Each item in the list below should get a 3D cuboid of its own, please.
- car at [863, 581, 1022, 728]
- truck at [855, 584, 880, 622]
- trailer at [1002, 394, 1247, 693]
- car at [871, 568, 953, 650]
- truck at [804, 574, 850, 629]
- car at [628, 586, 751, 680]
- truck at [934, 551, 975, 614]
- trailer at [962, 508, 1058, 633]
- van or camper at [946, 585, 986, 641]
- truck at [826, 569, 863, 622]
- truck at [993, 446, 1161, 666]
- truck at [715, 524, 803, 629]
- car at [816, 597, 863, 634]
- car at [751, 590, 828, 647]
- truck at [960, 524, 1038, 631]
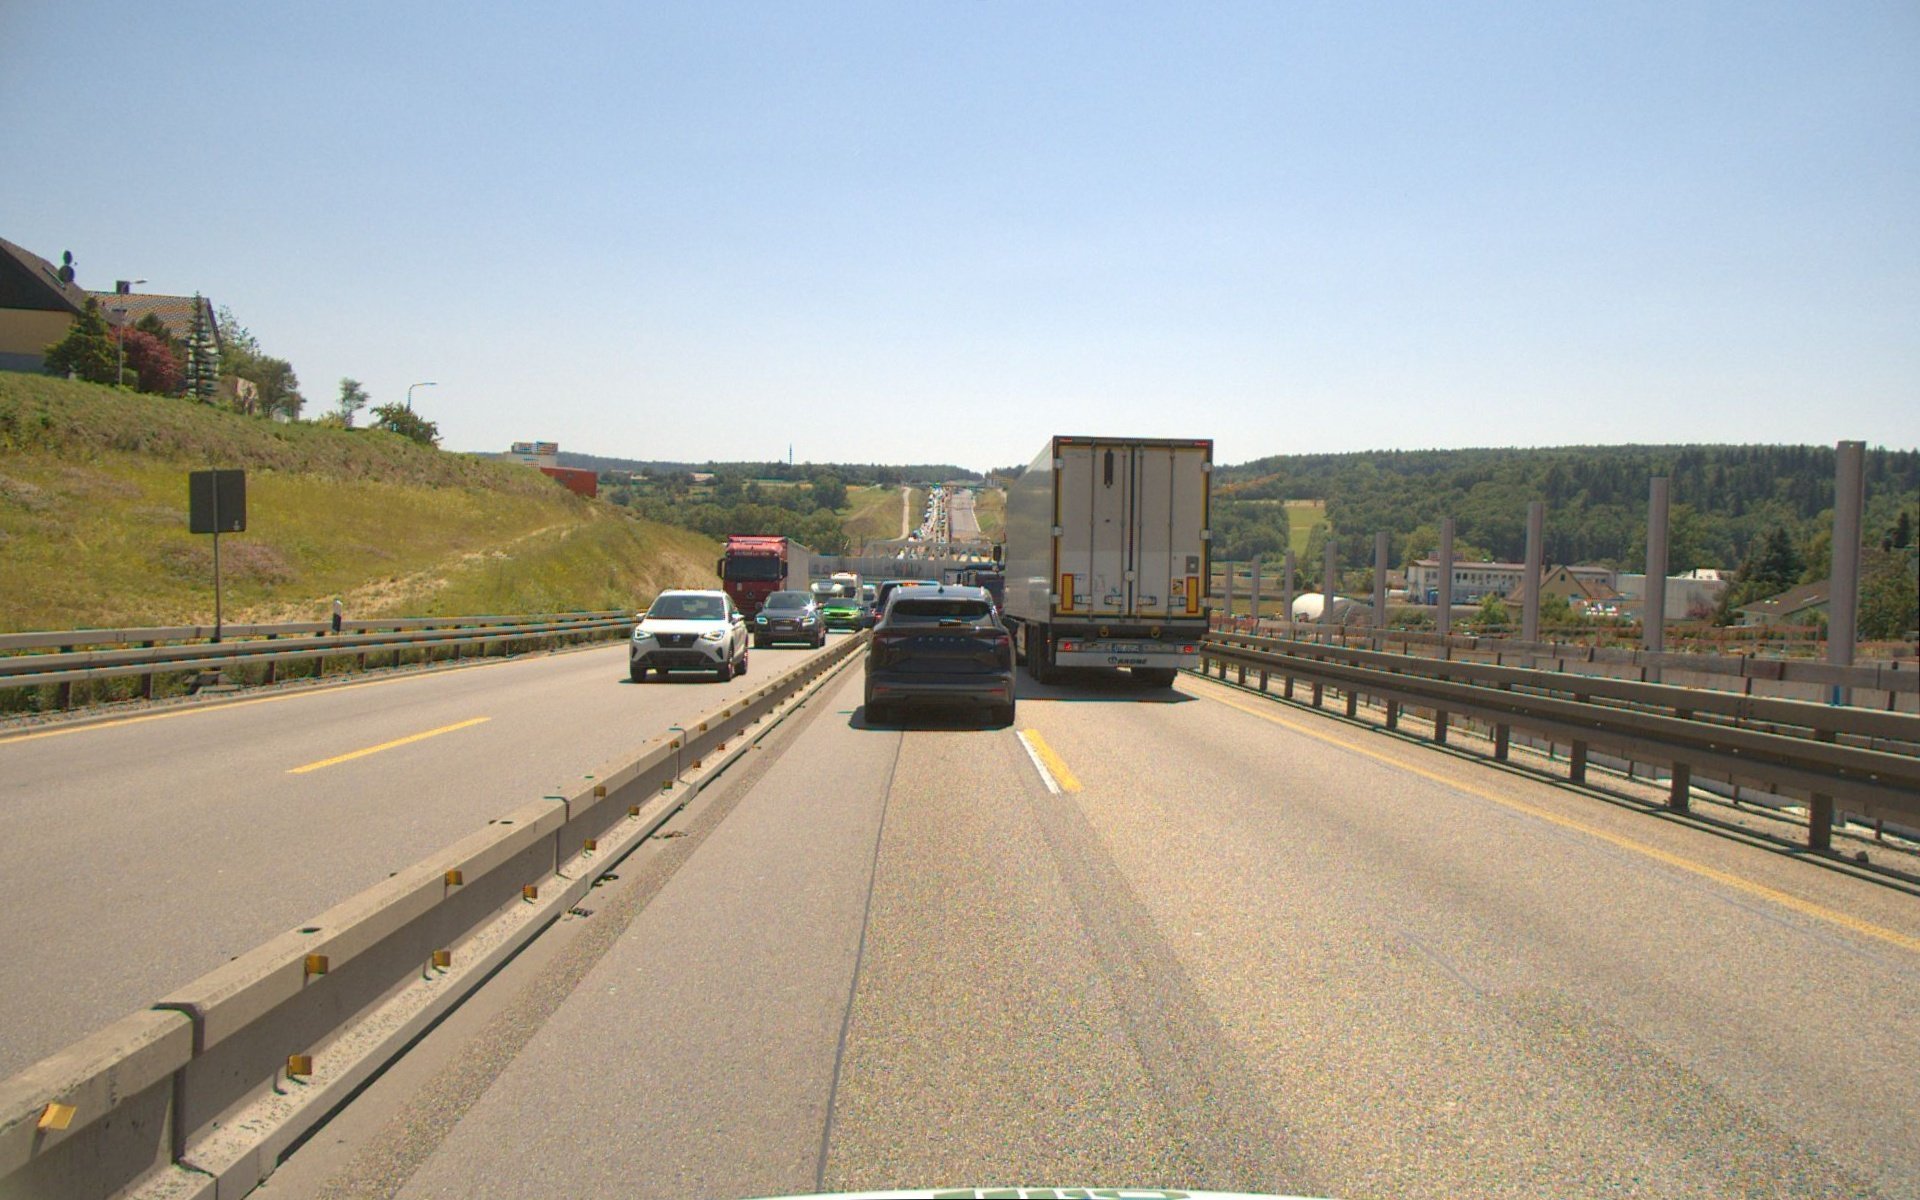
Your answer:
[{"bbox_3d":[-0.221,0.633,20.633,1.766,1.636,3.999,1,-1,-1],"label":"car"},{"bbox_3d":[-11.449,0.427,206.341,2.795,4.414,11.911,1,-1,-2],"label":"truck"},{"bbox_3d":[2.727,-0.913,32.277,3.116,4.592,13.104,1,0,-1],"label":"trailer"},{"bbox_3d":[-1.226,0.267,42.482,1.953,1.959,4.506,1,-1,-2],"label":"car"},{"bbox_3d":[-9.844,0.236,123.490,2.795,3.849,11.911,1,-1,-2],"label":"truck"},{"bbox_3d":[-4.723,0.537,29.354,1.756,1.545,3.996,0,0,-4],"label":"car"},{"bbox_3d":[-0.521,-1.272,130.480,2.795,4.543,11.911,1,-1,-2],"label":"truck"},{"bbox_3d":[1.862,-0.957,68.945,3.116,4.592,14.961,1,-1,-1],"label":"trailer"},{"bbox_3d":[0.420,0.833,101.783,2.339,3.338,6.468,1,-1,1],"label":"van or camper"},{"bbox_3d":[-10.257,-0.294,148.167,2.795,4.414,11.911,1,-1,-2],"label":"truck"},{"bbox_3d":[2.550,-0.948,38.977,3.116,4.592,8.163,1,0,-1],"label":"truck"},{"bbox_3d":[-8.849,-0.867,74.240,2.795,4.212,11.911,1,-1,-2],"label":"truck"},{"bbox_3d":[-5.141,0.643,70.815,1.824,1.502,3.998,2,0,-2],"label":"car"},{"bbox_3d":[-4.944,0.527,48.408,1.953,1.557,3.998,1,0,-2],"label":"car"},{"bbox_3d":[1.695,-0.886,76.102,3.116,4.592,8.162,1,-1,-1],"label":"truck"}]
